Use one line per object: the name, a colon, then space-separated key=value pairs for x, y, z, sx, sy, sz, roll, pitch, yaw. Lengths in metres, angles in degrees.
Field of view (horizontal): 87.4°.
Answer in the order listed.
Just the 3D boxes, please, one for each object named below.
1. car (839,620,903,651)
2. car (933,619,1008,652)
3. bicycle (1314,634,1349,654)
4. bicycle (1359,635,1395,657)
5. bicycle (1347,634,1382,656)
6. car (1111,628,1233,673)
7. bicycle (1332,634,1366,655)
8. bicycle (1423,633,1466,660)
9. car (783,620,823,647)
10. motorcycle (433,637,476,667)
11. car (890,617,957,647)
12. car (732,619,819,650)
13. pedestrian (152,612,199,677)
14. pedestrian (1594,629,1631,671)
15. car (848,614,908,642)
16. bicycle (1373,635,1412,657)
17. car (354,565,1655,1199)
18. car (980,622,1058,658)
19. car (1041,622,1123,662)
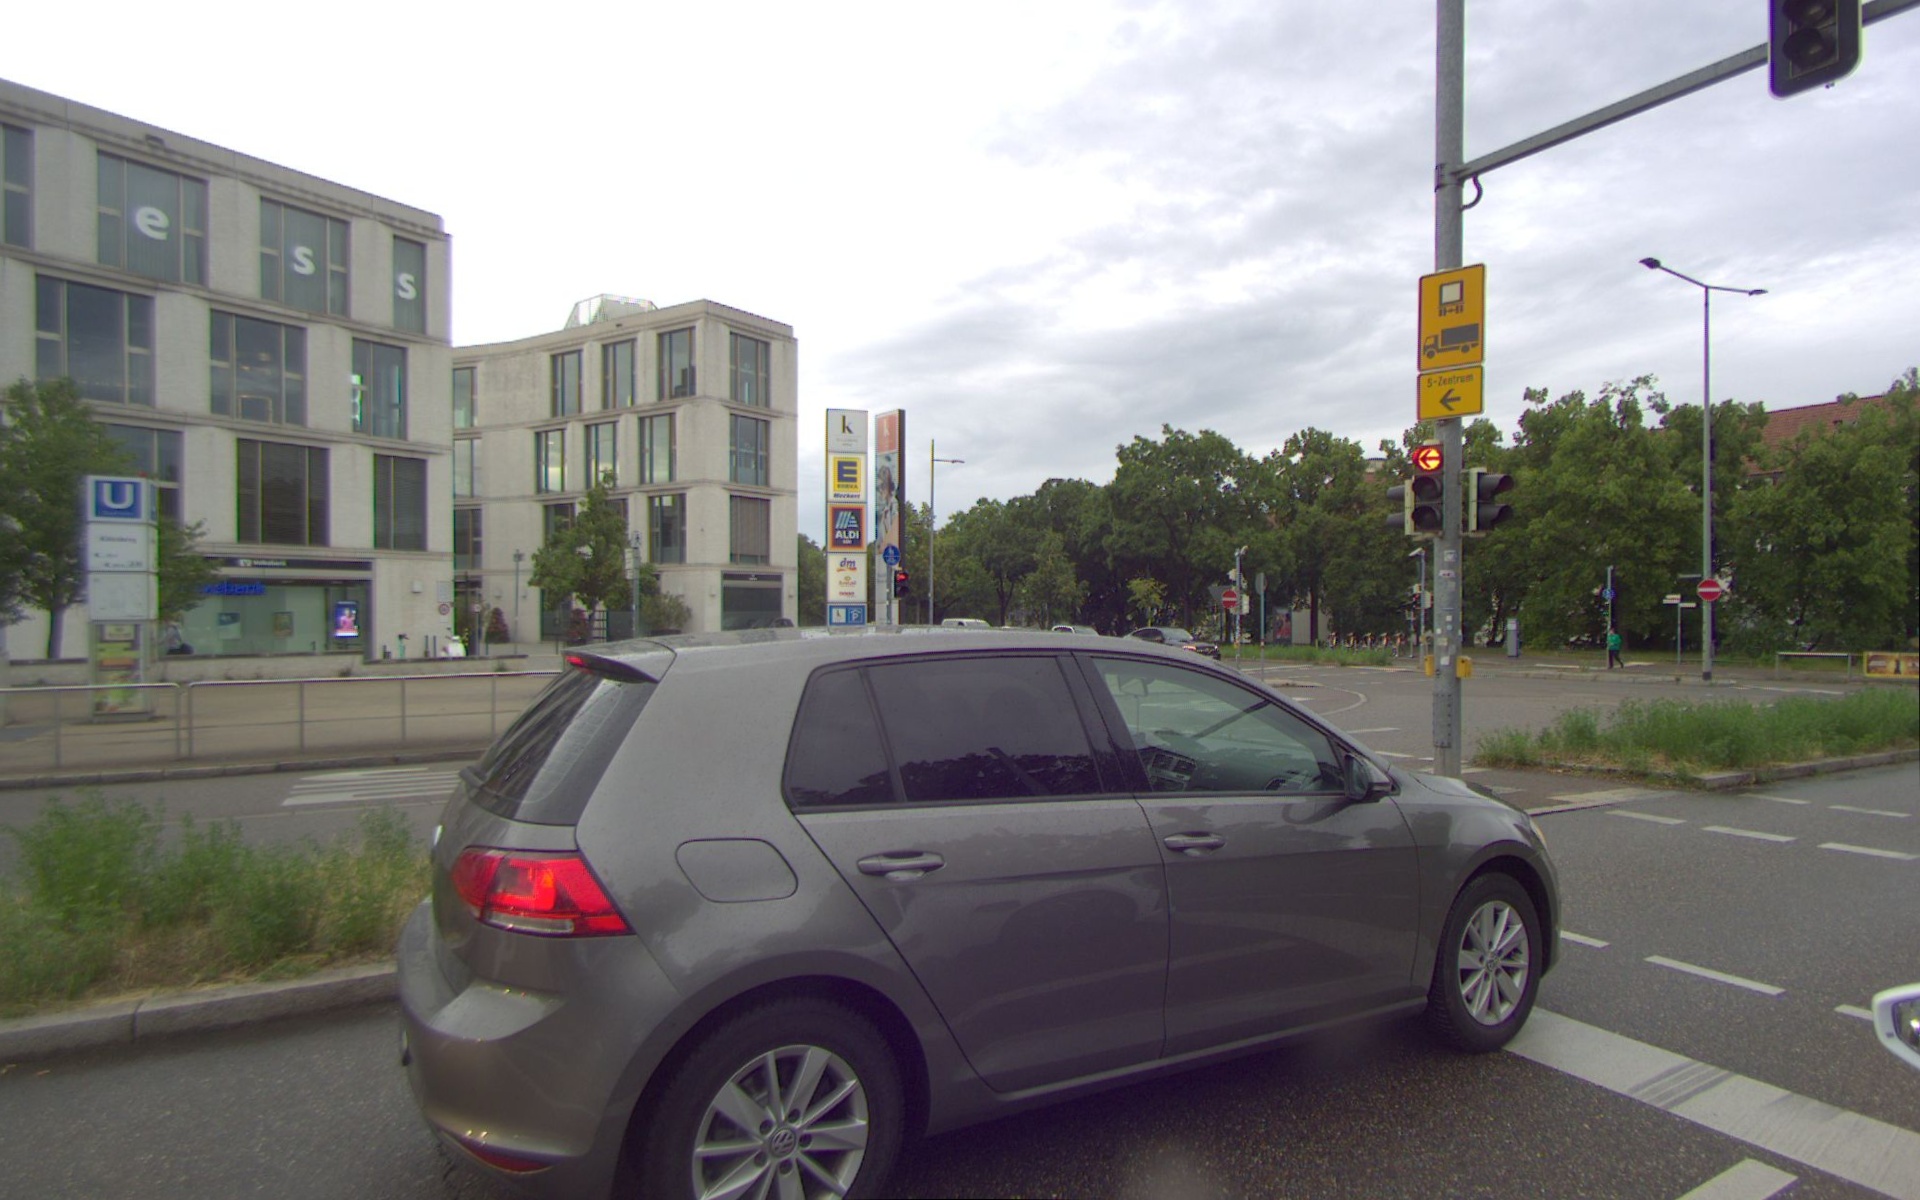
car: x=-5.335 y=2.109 z=59.696 sx=1.976 sy=1.615 sz=4.855 roll=2 pitch=0 yaw=-29
car: x=0.526 y=1.943 z=55.403 sx=1.976 sy=1.615 sz=4.855 roll=2 pitch=0 yaw=-29
bicycle: x=20.261 y=2.401 z=54.763 sx=1.959 sy=1.085 sz=0.649 roll=2 pitch=0 yaw=-30
bicycle: x=21.666 y=2.394 z=52.172 sx=1.959 sy=1.085 sz=0.649 roll=2 pitch=0 yaw=-30
bicycle: x=21.365 y=2.377 z=53.033 sx=1.959 sy=1.085 sz=0.649 roll=2 pitch=0 yaw=-30
car: x=8.389 y=1.964 z=40.238 sx=1.976 sy=1.520 sz=5.001 roll=2 pitch=0 yaw=-29
bicycle: x=20.932 y=2.388 z=54.033 sx=1.959 sy=1.085 sz=0.649 roll=2 pitch=0 yaw=-30
bicycle: x=23.753 y=2.270 z=49.260 sx=1.959 sy=1.266 sz=0.986 roll=2 pitch=0 yaw=-30
car: x=-12.592 y=2.659 z=80.388 sx=1.976 sy=2.040 sz=3.969 roll=1 pitch=-1 yaw=-29
motorcycle: x=-14.044 y=1.437 z=27.900 sx=1.081 sy=0.750 sz=0.522 roll=2 pitch=0 yaw=29
car: x=-2.263 y=1.884 z=60.391 sx=1.976 sy=1.615 sz=4.855 roll=2 pitch=0 yaw=-29
car: x=-9.193 y=1.715 z=50.316 sx=1.968 sy=1.483 sz=3.985 roll=0 pitch=-2 yaw=37
pedestrian: x=-20.066 y=1.129 z=25.706 sx=0.907 sy=1.626 sz=0.756 roll=2 pitch=-1 yaw=-38
pedestrian: x=27.653 y=2.114 z=42.546 sx=0.933 sy=1.750 sz=0.920 roll=2 pitch=0 yaw=-23
car: x=-5.465 y=1.814 z=66.111 sx=1.977 sy=1.615 sz=4.852 roll=2 pitch=0 yaw=-31
bicycle: x=22.237 y=2.360 z=51.648 sx=1.959 sy=1.085 sz=0.798 roll=2 pitch=0 yaw=-30
car: x=0.396 y=0.754 z=3.594 sx=4.325 sy=1.501 sz=1.807 roll=2 pitch=-1 yaw=-30
car: x=2.944 y=1.994 z=50.894 sx=1.976 sy=1.615 sz=4.185 roll=2 pitch=0 yaw=-29
car: x=5.550 y=1.907 z=46.025 sx=1.976 sy=1.615 sz=3.536 roll=2 pitch=0 yaw=-30
